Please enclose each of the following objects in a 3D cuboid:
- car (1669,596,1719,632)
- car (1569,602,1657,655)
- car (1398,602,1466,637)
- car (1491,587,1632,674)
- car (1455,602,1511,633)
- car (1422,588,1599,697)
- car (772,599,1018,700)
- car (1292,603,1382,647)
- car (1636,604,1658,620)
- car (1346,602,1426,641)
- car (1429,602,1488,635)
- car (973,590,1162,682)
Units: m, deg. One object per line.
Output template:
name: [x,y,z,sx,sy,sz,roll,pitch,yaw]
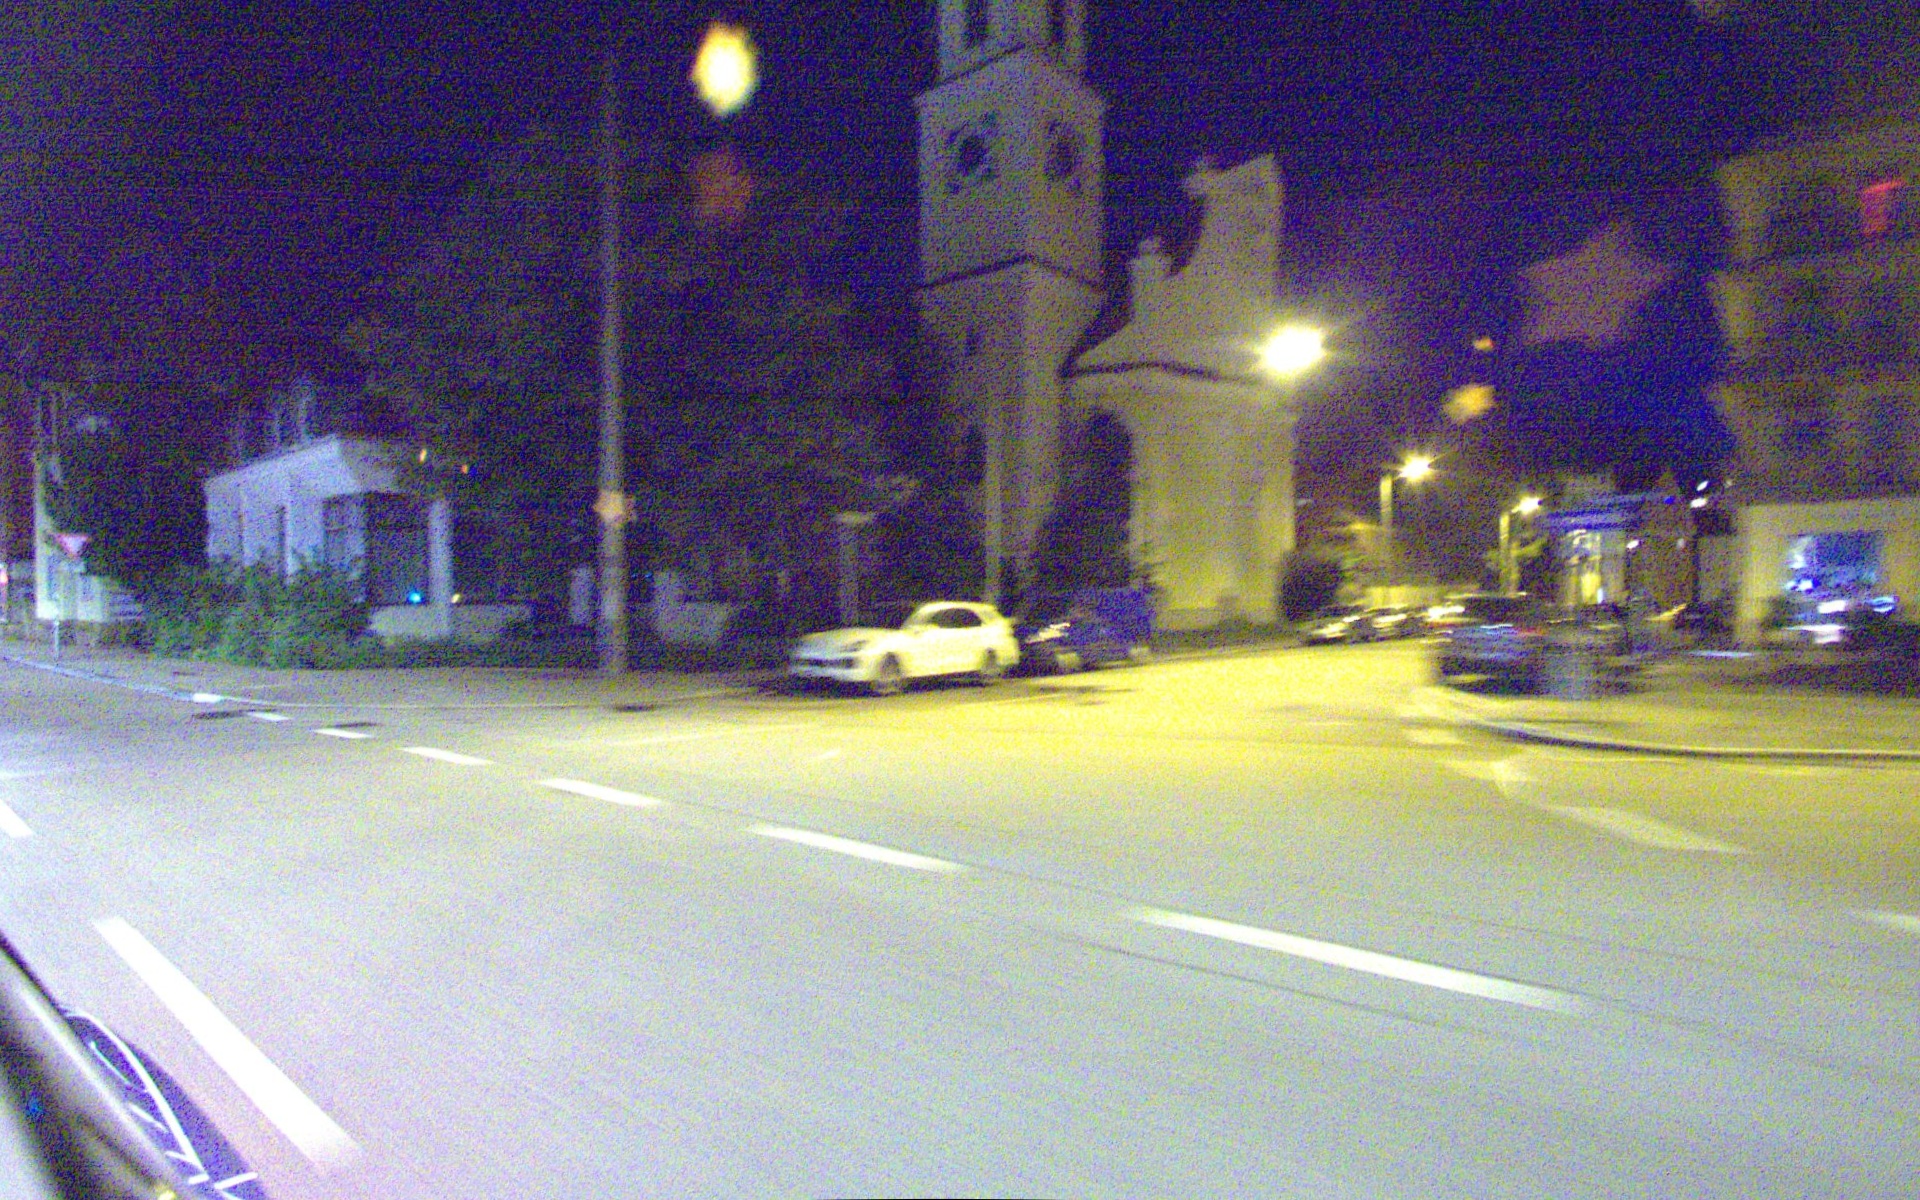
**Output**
car: [37.448,0.701,51.588,1.930,1.727,4.363,0,-1,38]
car: [19.932,0.833,30.823,1.921,1.467,4.159,0,-1,38]
car: [21.287,0.858,45.574,1.862,1.481,3.947,0,-1,39]
car: [14.163,0.623,23.719,1.962,1.767,4.292,4,3,42]
car: [27.626,0.922,53.368,1.861,1.549,3.947,0,-1,39]
car: [10.539,0.687,19.221,1.957,1.767,4.292,2,2,43]
car: [-1.062,0.831,18.869,2.001,1.641,4.614,0,-1,39]
car: [13.890,0.885,37.150,1.901,1.517,3.947,-2,-1,39]
car: [70.166,1.270,103.370,1.586,1.586,3.523,0,-1,39]
car: [17.445,0.870,41.361,1.828,1.517,3.944,-2,-1,42]
car: [24.278,0.894,49.267,1.798,1.530,3.636,0,-1,39]
car: [2.622,0.772,23.662,2.026,1.904,4.938,-2,-1,39]
